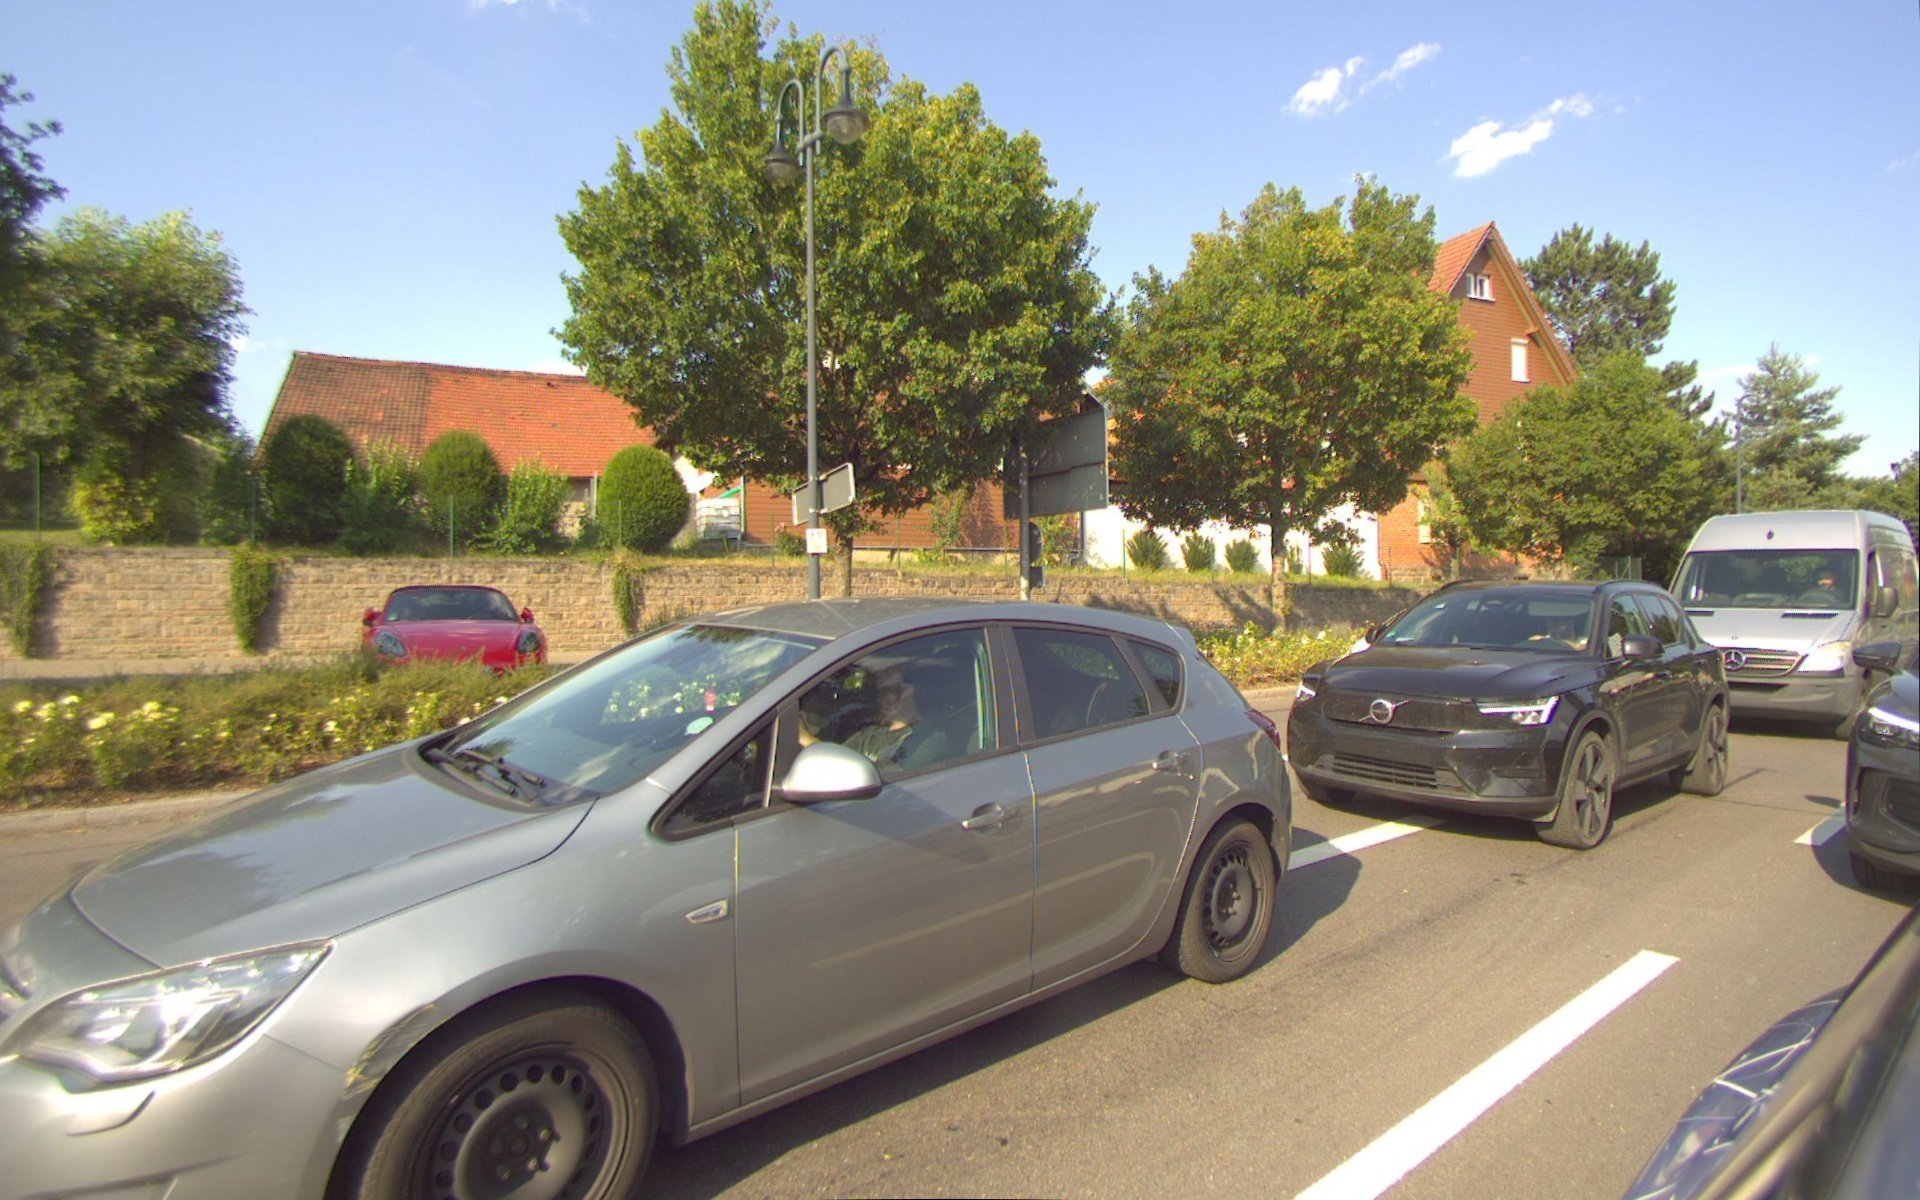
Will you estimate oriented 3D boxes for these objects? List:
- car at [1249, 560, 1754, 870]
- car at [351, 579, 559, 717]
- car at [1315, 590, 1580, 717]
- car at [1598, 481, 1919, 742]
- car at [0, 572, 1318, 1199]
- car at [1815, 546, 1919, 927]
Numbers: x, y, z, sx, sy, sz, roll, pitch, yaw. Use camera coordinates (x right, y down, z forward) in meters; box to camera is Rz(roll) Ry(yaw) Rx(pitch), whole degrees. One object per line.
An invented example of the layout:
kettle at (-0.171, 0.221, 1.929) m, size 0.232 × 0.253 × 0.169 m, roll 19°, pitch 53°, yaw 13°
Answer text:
car at (4.080, 0.590, 7.356) m, size 4.054 × 1.629 × 1.885 m, roll 0°, pitch 0°, yaw -40°
car at (-5.831, 0.439, 11.701) m, size 1.816 × 1.288 × 4.005 m, roll 0°, pitch 0°, yaw -28°
car at (6.653, 0.602, 13.651) m, size 3.996 × 1.469 × 1.732 m, roll 0°, pitch 0°, yaw -40°
car at (10.533, 0.094, 12.865) m, size 6.082 × 2.579 × 2.369 m, roll 0°, pitch 0°, yaw -40°
car at (-0.616, 0.674, 3.491) m, size 4.095 × 1.460 × 1.746 m, roll 0°, pitch 0°, yaw -41°
car at (6.372, 0.595, 5.503) m, size 4.646 × 1.677 × 1.893 m, roll 0°, pitch 0°, yaw -40°
